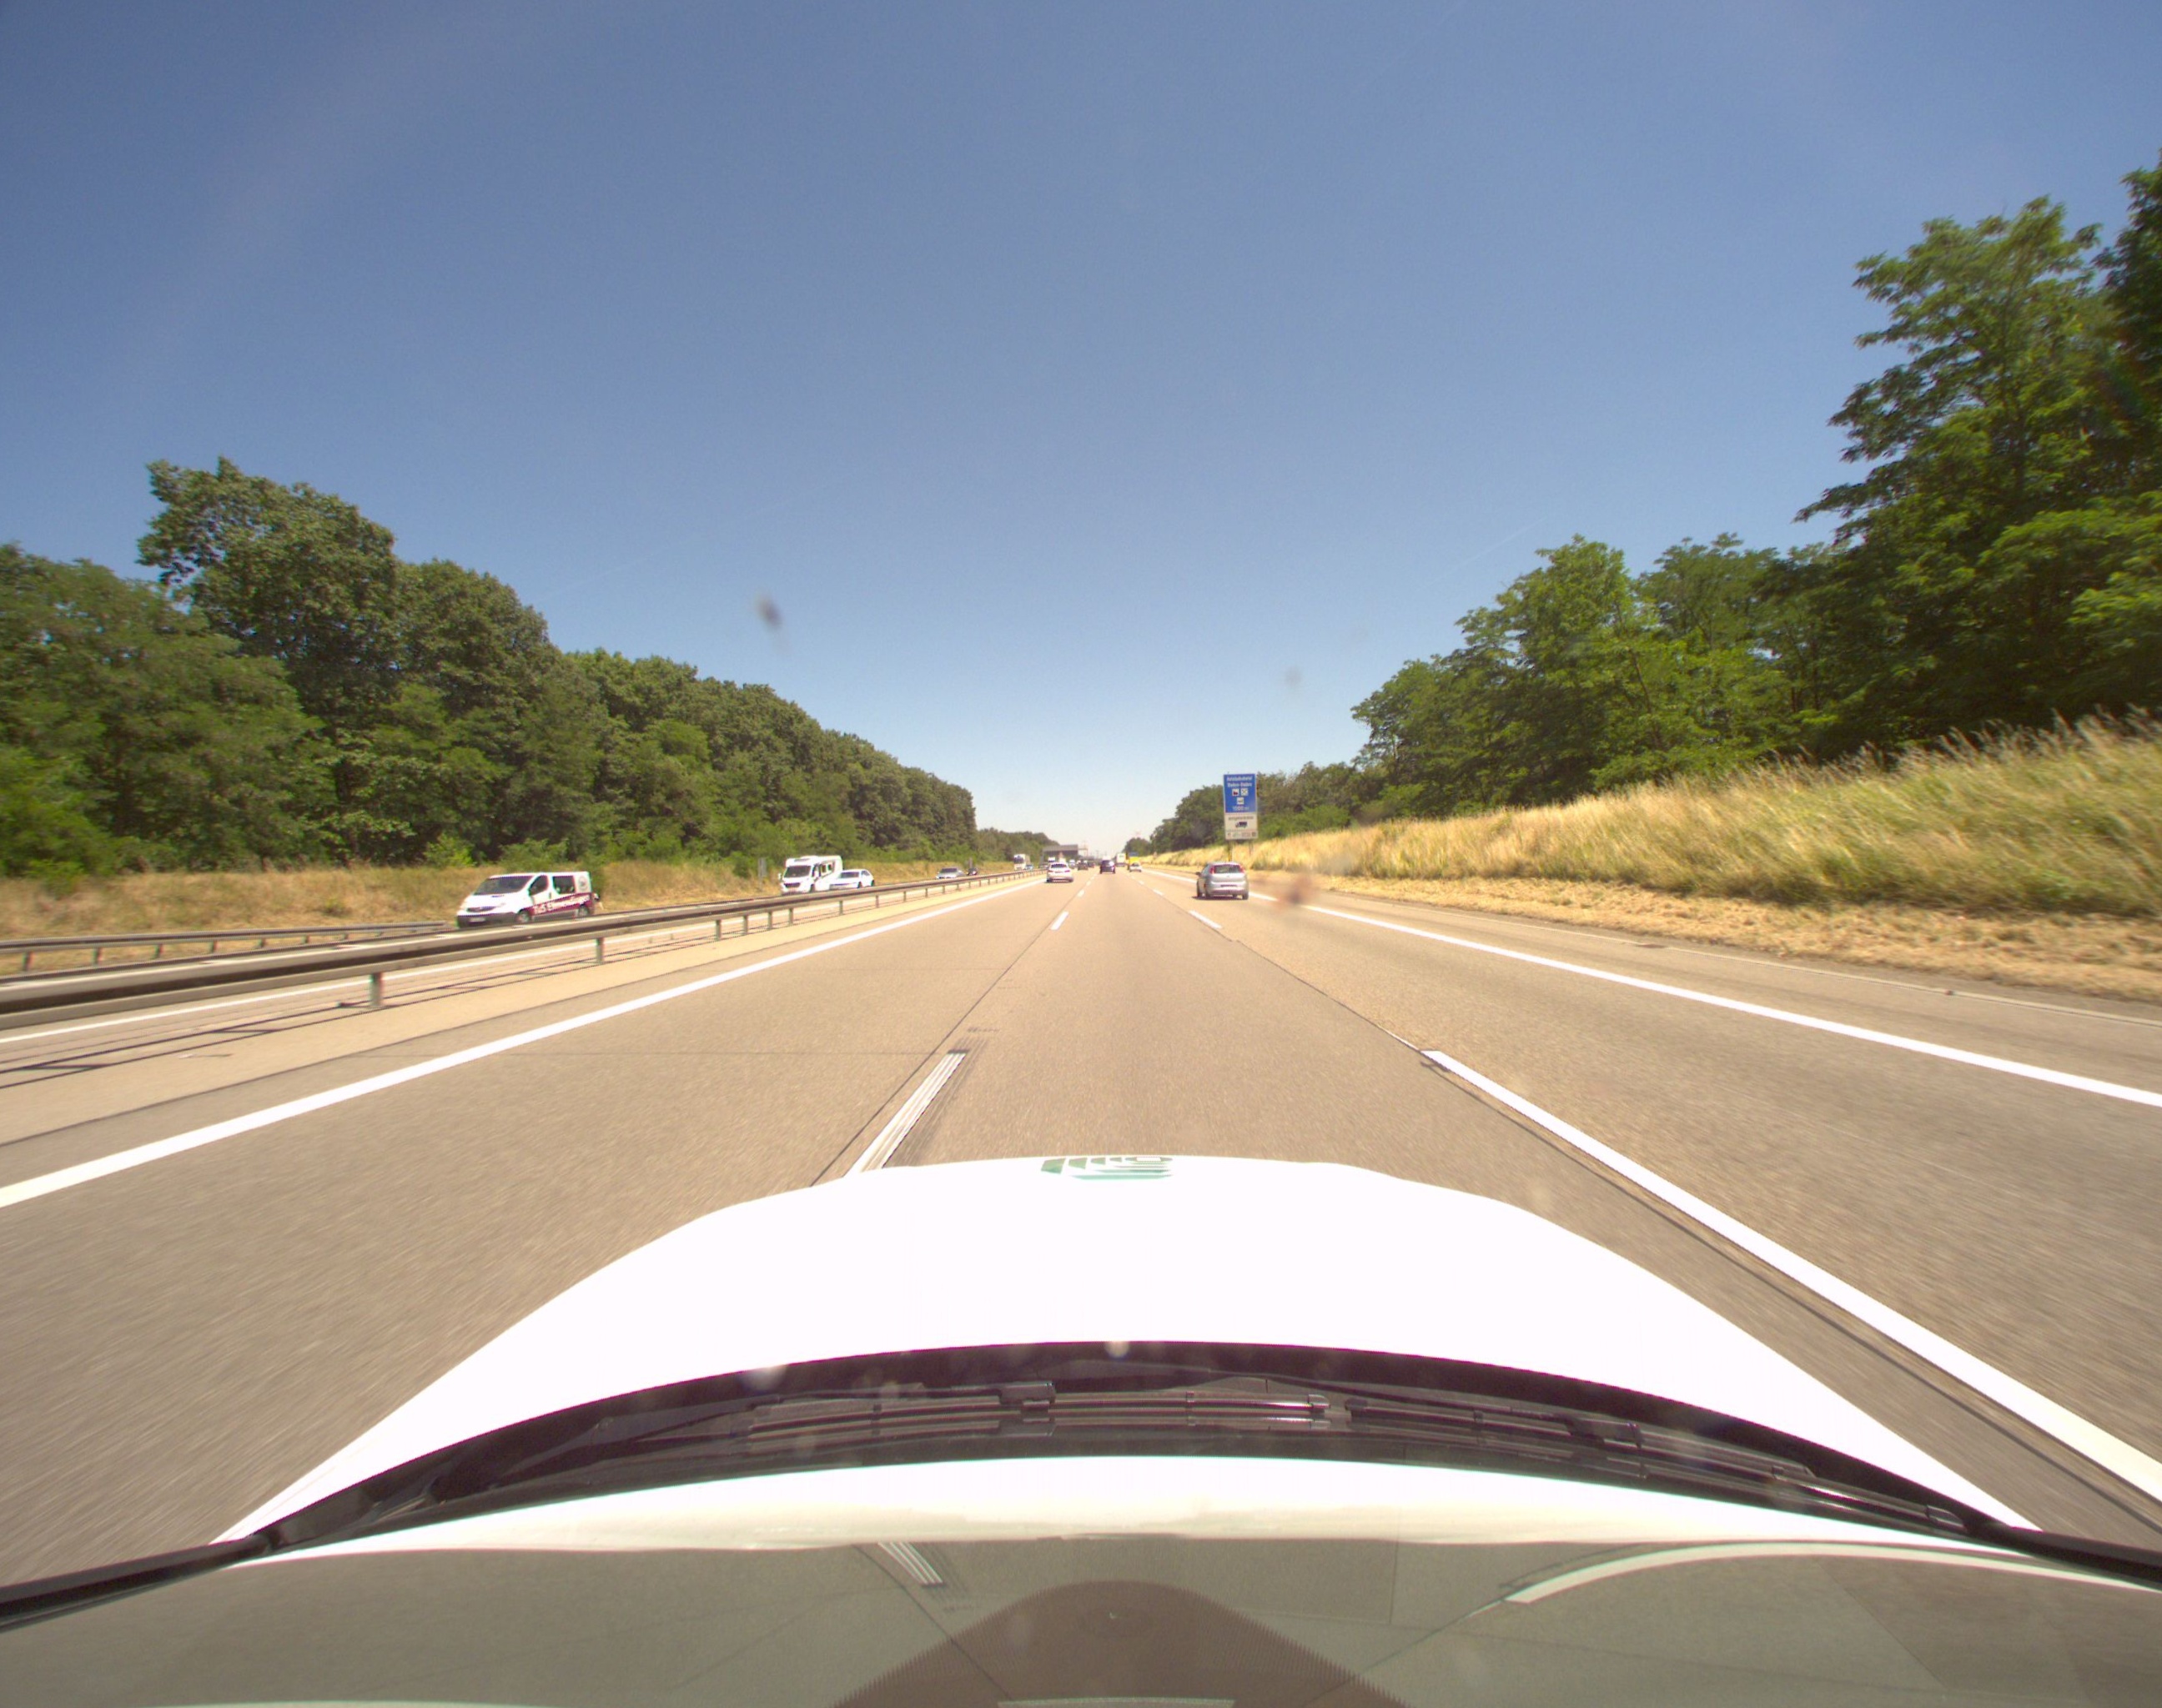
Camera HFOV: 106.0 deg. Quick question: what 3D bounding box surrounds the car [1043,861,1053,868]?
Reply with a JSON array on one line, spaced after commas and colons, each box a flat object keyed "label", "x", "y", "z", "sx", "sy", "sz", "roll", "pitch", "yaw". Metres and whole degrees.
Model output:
[{"label": "car", "x": -8.194, "y": 2.589, "z": 201.013, "sx": 1.986, "sy": 1.568, "sz": 5.192, "roll": -4, "pitch": -1, "yaw": 2}]

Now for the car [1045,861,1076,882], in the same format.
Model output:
[{"label": "car", "x": -1.489, "y": 1.273, "z": 61.055, "sx": 1.956, "sy": 1.504, "sz": 5.406, "roll": -1, "pitch": -1, "yaw": 1}]

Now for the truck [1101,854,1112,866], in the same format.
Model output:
[{"label": "truck", "x": 5.832, "y": 1.443, "z": 188.844, "sx": 2.421, "sy": 2.884, "sz": 6.204, "roll": 0, "pitch": -1, "yaw": 0}]

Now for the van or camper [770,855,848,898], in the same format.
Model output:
[{"label": "van or camper", "x": -18.652, "y": 1.489, "z": 56.380, "sx": 2.452, "sy": 2.575, "sz": 7.773, "roll": -4, "pitch": -1, "yaw": 2}]

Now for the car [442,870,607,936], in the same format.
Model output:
[{"label": "car", "x": -19.369, "y": 1.625, "z": 28.725, "sx": 1.986, "sy": 1.953, "sz": 5.246, "roll": -4, "pitch": -1, "yaw": 2}]

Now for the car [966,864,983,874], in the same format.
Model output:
[{"label": "car", "x": -16.568, "y": 2.392, "z": 126.772, "sx": 1.807, "sy": 1.395, "sz": 4.113, "roll": -4, "pitch": -1, "yaw": 2}]

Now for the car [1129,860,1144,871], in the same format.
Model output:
[{"label": "car", "x": 7.774, "y": 1.632, "z": 114.401, "sx": 1.816, "sy": 1.492, "sz": 3.735, "roll": 0, "pitch": -1, "yaw": -1}]

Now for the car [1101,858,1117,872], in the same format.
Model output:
[{"label": "car", "x": 3.431, "y": 1.344, "z": 100.548, "sx": 1.826, "sy": 1.672, "sz": 3.999, "roll": 0, "pitch": -1, "yaw": 0}]

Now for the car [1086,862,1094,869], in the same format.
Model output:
[{"label": "car", "x": 2.166, "y": 2.698, "z": 195.446, "sx": 1.868, "sy": 1.580, "sz": 3.931, "roll": -1, "pitch": 0, "yaw": 3}]

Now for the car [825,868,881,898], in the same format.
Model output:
[{"label": "car", "x": -14.862, "y": 1.857, "z": 53.399, "sx": 1.986, "sy": 1.694, "sz": 5.246, "roll": -4, "pitch": -1, "yaw": 2}]

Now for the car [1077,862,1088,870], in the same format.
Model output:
[{"label": "car", "x": 0.344, "y": 2.089, "z": 144.372, "sx": 1.825, "sy": 1.431, "sz": 5.001, "roll": -1, "pitch": 0, "yaw": 2}]

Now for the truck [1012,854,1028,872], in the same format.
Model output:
[{"label": "truck", "x": -14.773, "y": 2.115, "z": 197.469, "sx": 2.894, "sy": 4.067, "sz": 5.654, "roll": -4, "pitch": -1, "yaw": 1}]

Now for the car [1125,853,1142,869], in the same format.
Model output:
[{"label": "car", "x": 9.192, "y": 1.228, "z": 142.995, "sx": 2.658, "sy": 2.634, "sz": 6.111, "roll": 0, "pitch": -1, "yaw": 0}]

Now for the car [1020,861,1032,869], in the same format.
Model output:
[{"label": "car", "x": -11.485, "y": 2.223, "z": 169.599, "sx": 1.986, "sy": 1.568, "sz": 4.530, "roll": -4, "pitch": -1, "yaw": 2}]

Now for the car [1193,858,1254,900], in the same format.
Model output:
[{"label": "car", "x": 5.614, "y": 0.950, "z": 32.422, "sx": 1.714, "sy": 1.491, "sz": 3.736, "roll": 0, "pitch": 0, "yaw": -1}]

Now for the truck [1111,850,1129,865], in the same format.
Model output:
[{"label": "truck", "x": 11.534, "y": 1.139, "z": 240.146, "sx": 3.986, "sy": 4.315, "sz": 9.863, "roll": 1, "pitch": -1, "yaw": -5}]

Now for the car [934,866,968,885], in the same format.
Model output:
[{"label": "car", "x": -10.495, "y": 1.733, "z": 65.915, "sx": 1.830, "sy": 1.373, "sz": 4.354, "roll": -4, "pitch": -1, "yaw": 2}]
